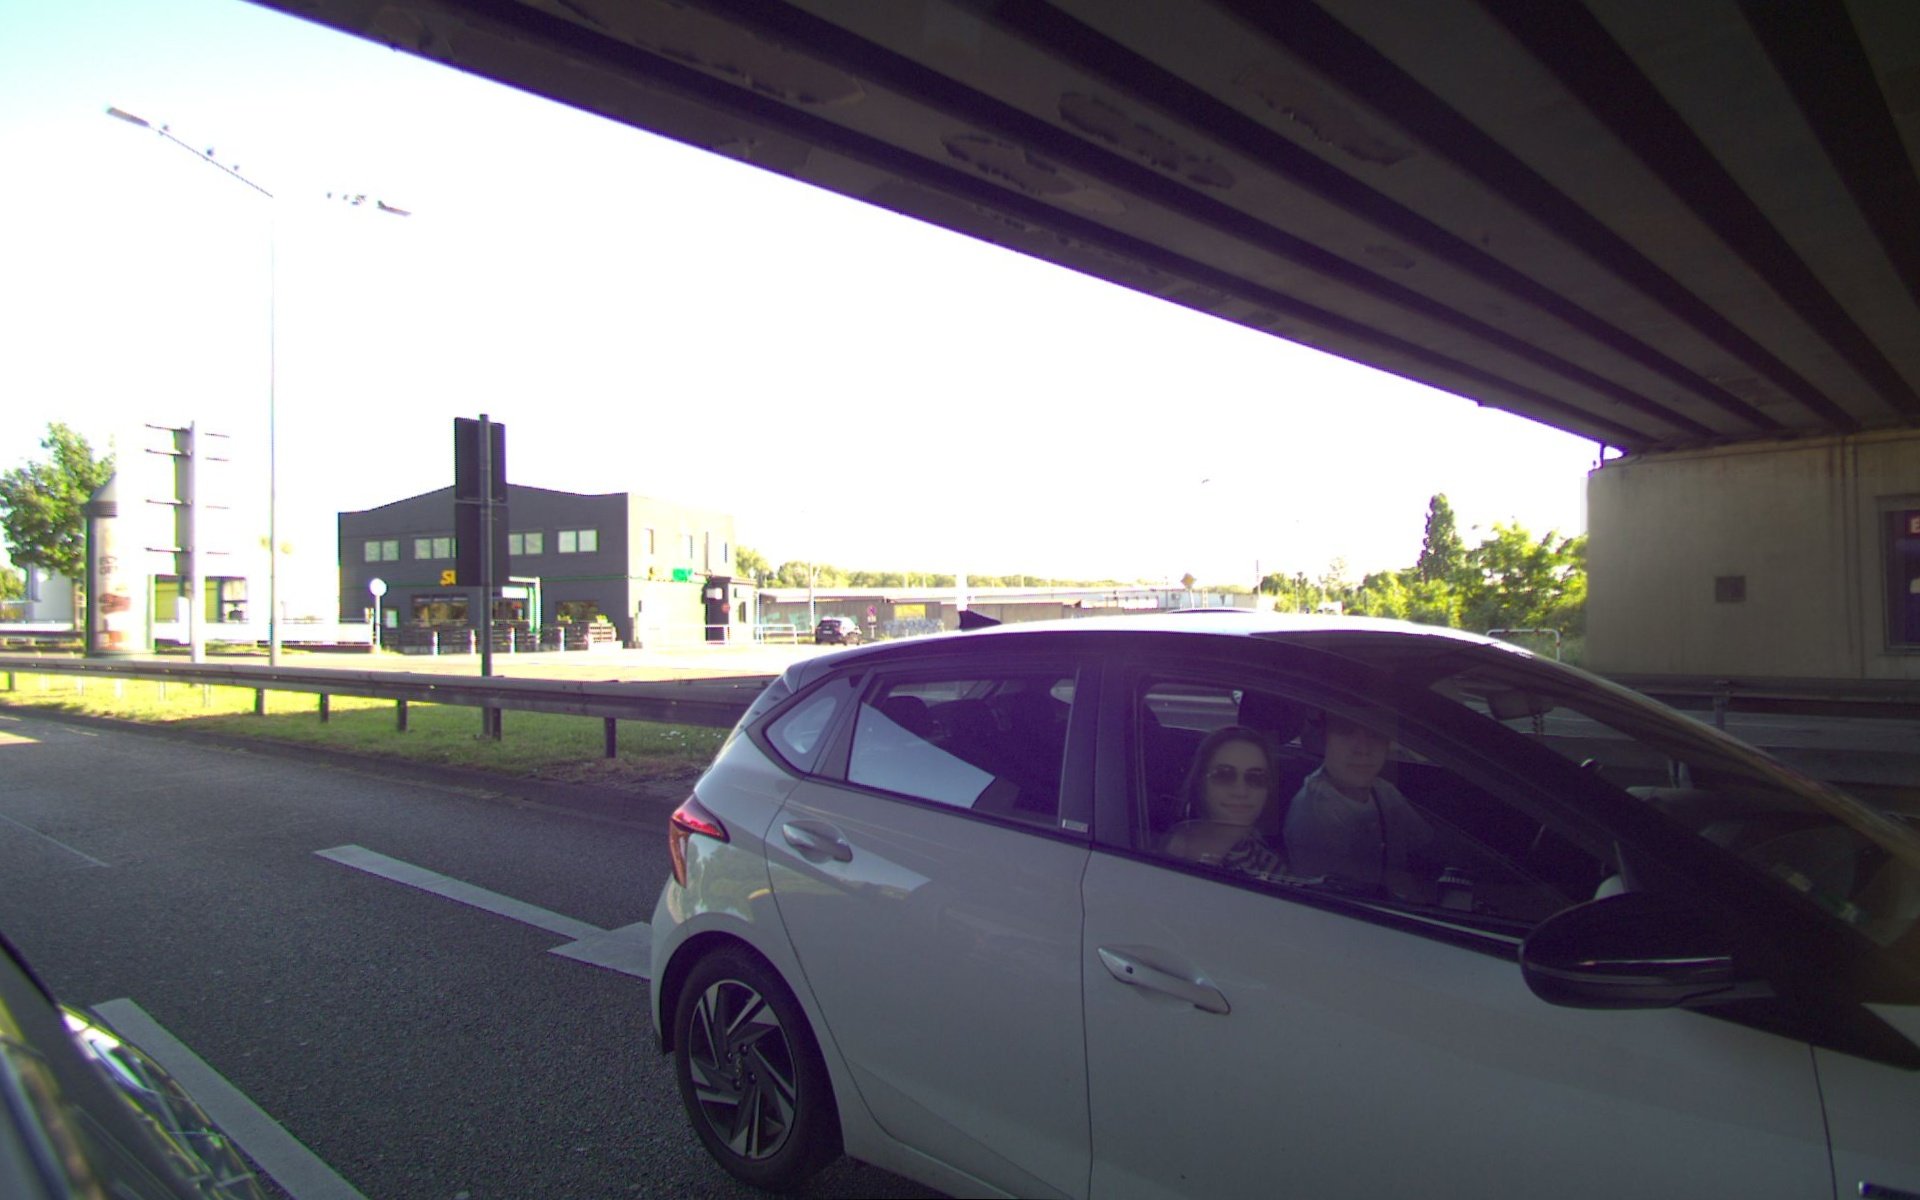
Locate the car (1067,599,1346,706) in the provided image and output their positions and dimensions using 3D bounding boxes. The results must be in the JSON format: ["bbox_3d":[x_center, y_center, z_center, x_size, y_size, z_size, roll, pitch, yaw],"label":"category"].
[{"bbox_3d":[4.069,0.856,17.002,4.175,1.600,1.808,-2,-2,37],"label":"car"}]

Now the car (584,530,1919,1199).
[{"bbox_3d":[0.994,0.693,2.317,3.987,1.491,1.716,-2,-2,39],"label":"car"}]

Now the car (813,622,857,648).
[{"bbox_3d":[-6.744,1.921,54.948,1.806,1.291,4.180,1,-3,1],"label":"car"}]
